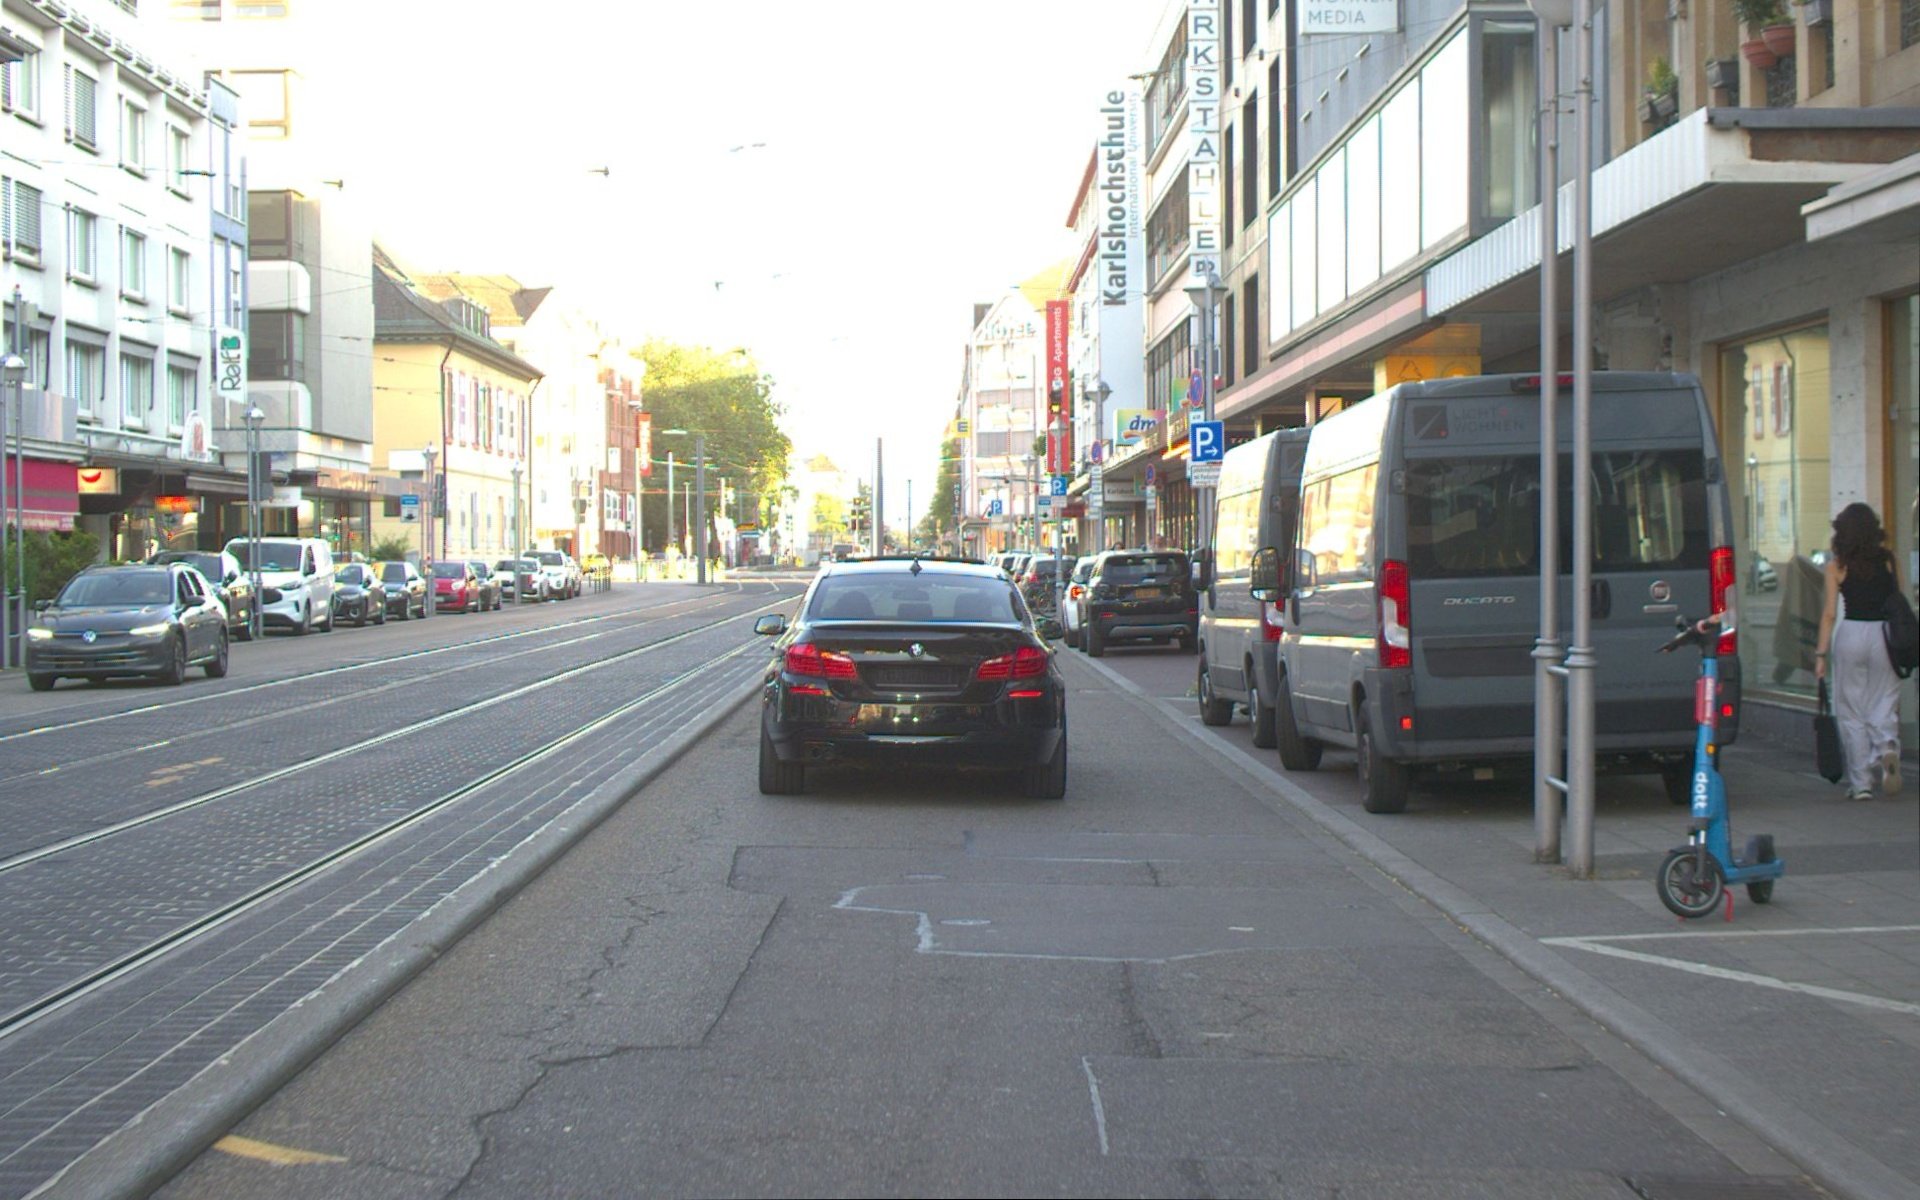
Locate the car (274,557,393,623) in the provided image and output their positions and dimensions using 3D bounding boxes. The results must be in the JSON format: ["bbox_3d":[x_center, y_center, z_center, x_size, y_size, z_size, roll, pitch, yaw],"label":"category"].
[{"bbox_3d":[-14.188,-0.255,78.057,1.928,1.430,4.246,1,1,0],"label":"car"}]

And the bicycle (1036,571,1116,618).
[{"bbox_3d":[2.688,-0.133,79.791,1.861,1.076,0.468,0,-1,1],"label":"bicycle"}]

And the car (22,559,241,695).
[{"bbox_3d":[-10.089,0.283,42.158,1.691,1.448,4.466,-4,1,-2],"label":"car"}]

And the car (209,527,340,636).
[{"bbox_3d":[-13.955,-0.397,70.229,1.993,2.149,4.911,0,1,-4],"label":"car"}]

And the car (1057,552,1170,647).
[{"bbox_3d":[2.469,-0.035,55.959,1.559,1.437,3.709,-3,1,-1],"label":"car"}]

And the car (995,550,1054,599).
[{"bbox_3d":[2.059,-0.820,110.473,1.774,1.543,3.503,0,0,-1],"label":"car"}]

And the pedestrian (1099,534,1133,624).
[{"bbox_3d":[2.856,-0.387,63.048,0.557,1.642,0.760,-1,1,-1],"label":"pedestrian"}]

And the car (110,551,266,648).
[{"bbox_3d":[-14.049,-0.044,62.773,1.860,1.672,4.464,1,1,0],"label":"car"}]

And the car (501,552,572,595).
[{"bbox_3d":[-14.633,-0.939,118.992,1.928,1.430,4.246,1,1,0],"label":"car"}]

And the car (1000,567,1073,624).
[{"bbox_3d":[2.117,-0.113,95.920,1.903,1.543,3.780,0,0,-1],"label":"car"}]

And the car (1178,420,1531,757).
[{"bbox_3d":[3.121,-0.125,28.377,2.033,2.447,5.410,-2,1,-2],"label":"car"}]

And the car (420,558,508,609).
[{"bbox_3d":[-14.317,-0.494,99.465,1.928,1.430,4.246,1,1,0],"label":"car"}]

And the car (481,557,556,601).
[{"bbox_3d":[-14.503,-0.712,113.065,1.928,1.430,4.246,0,1,0],"label":"car"}]

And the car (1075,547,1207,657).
[{"bbox_3d":[2.633,0.002,50.799,1.654,1.532,3.886,-1,1,-1],"label":"car"}]

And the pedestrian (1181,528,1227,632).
[{"bbox_3d":[4.164,-0.345,58.655,0.689,1.734,0.820,-2,1,1],"label":"pedestrian"}]

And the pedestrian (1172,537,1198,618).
[{"bbox_3d":[5.043,-0.507,76.944,0.508,1.786,0.760,-1,1,0],"label":"pedestrian"}]

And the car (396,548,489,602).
[{"bbox_3d":[-14.206,-0.712,94.529,1.928,1.430,4.246,1,1,0],"label":"car"}]

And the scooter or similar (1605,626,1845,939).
[{"bbox_3d":[3.202,0.731,14.330,0.499,1.216,1.262,0,1,37],"label":"scooter or similar"}]

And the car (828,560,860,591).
[{"bbox_3d":[-7.562,-1.572,225.044,1.993,1.832,4.000,0,-2,-1],"label":"car"}]

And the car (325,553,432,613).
[{"bbox_3d":[-14.301,-0.438,84.749,1.928,1.430,4.246,1,1,0],"label":"car"}]

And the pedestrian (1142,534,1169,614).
[{"bbox_3d":[4.386,-0.584,77.163,0.554,1.785,0.760,-1,1,0],"label":"pedestrian"}]

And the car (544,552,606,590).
[{"bbox_3d":[-14.887,-1.122,133.033,1.928,1.430,4.246,1,1,0],"label":"car"}]

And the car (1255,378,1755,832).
[{"bbox_3d":[3.258,-0.019,21.920,2.092,2.447,6.033,-1,1,-1],"label":"car"}]

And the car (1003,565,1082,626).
[{"bbox_3d":[2.119,-0.121,88.867,1.903,1.543,4.000,0,0,-1],"label":"car"}]

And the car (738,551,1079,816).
[{"bbox_3d":[-0.271,0.464,22.330,1.953,1.493,4.465,2,1,1],"label":"car"}]

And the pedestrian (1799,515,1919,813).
[{"bbox_3d":[5.077,0.352,19.340,0.550,1.638,0.533,-2,1,0],"label":"pedestrian"}]

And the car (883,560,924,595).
[{"bbox_3d":[-2.522,-0.999,154.179,1.774,1.543,3.503,0,0,-1],"label":"car"}]
